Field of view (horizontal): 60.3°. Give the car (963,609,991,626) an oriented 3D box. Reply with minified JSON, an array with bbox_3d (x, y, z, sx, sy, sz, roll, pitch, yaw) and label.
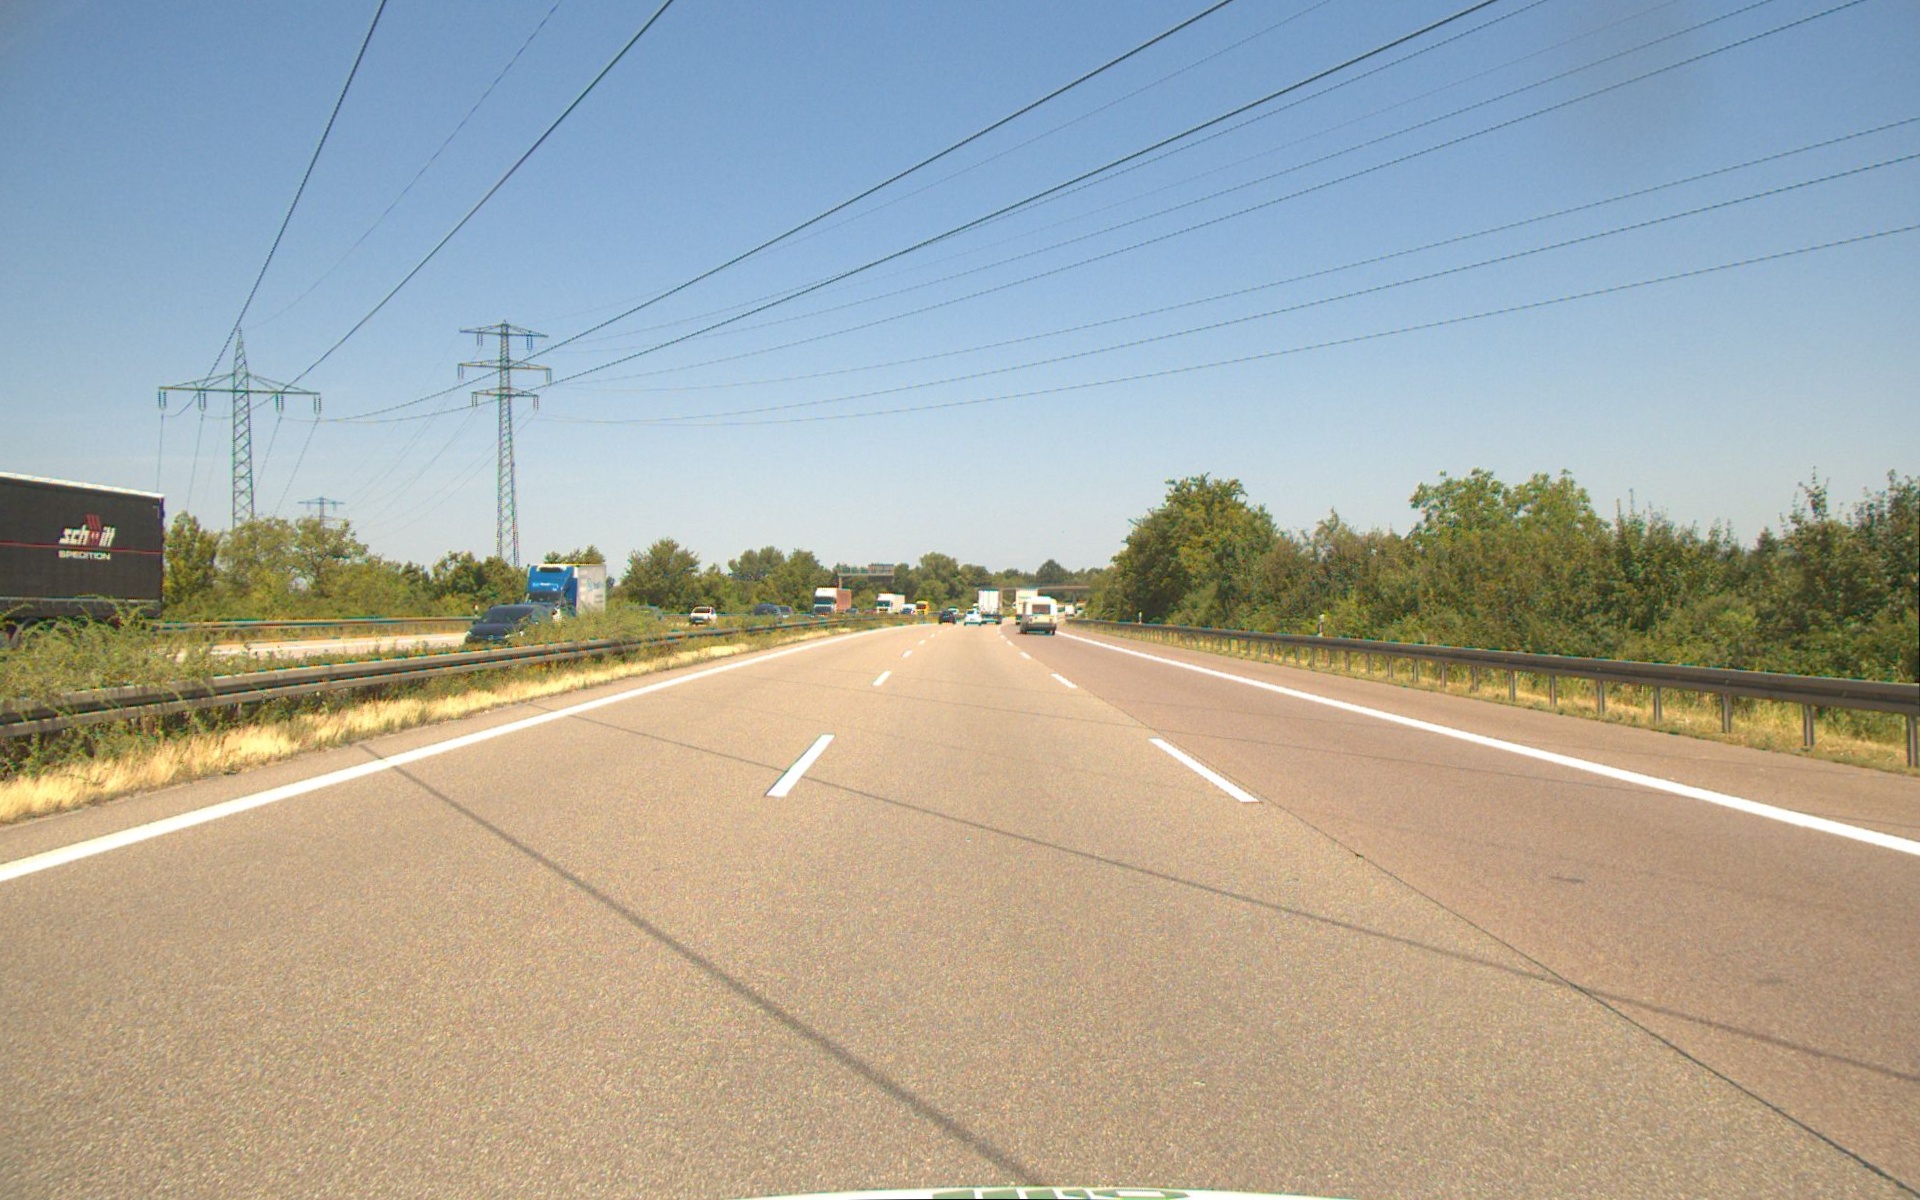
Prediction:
[{"bbox_3d":[1.656,1.656,161.129,1.789,1.574,4.322,1,0,13],"label":"car"}]

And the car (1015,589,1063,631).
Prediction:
[{"bbox_3d":[4.638,0.549,97.999,2.393,2.362,5.320,-1,1,-2],"label":"car"}]

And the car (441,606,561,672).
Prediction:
[{"bbox_3d":[-12.846,1.058,46.612,1.953,1.646,5.017,1,1,0],"label":"car"}]

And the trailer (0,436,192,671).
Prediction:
[{"bbox_3d":[-20.258,-0.951,33.910,2.594,4.631,13.863,1,1,0],"label":"trailer"}]

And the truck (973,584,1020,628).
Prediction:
[{"bbox_3d":[4.602,0.617,203.054,3.588,5.106,16.031,1,1,9],"label":"truck"}]

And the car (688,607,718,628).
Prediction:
[{"bbox_3d":[-19.267,1.321,124.196,1.631,1.559,4.279,0,0,0],"label":"car"}]

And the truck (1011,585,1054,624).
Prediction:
[{"bbox_3d":[8.623,0.446,194.679,3.113,4.379,16.031,1,1,9],"label":"truck"}]

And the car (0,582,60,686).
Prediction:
[{"bbox_3d":[-16.243,0.546,25.566,1.904,1.646,5.017,1,1,0],"label":"car"}]

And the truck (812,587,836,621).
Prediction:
[{"bbox_3d":[-16.797,0.493,204.242,2.430,4.089,4.603,1,0,2],"label":"truck"}]

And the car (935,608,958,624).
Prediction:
[{"bbox_3d":[-1.489,1.715,178.032,1.789,1.574,4.322,1,0,8],"label":"car"}]

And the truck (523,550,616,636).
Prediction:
[{"bbox_3d":[-19.666,-0.371,83.843,2.403,4.045,9.670,-2,1,0],"label":"truck"}]
